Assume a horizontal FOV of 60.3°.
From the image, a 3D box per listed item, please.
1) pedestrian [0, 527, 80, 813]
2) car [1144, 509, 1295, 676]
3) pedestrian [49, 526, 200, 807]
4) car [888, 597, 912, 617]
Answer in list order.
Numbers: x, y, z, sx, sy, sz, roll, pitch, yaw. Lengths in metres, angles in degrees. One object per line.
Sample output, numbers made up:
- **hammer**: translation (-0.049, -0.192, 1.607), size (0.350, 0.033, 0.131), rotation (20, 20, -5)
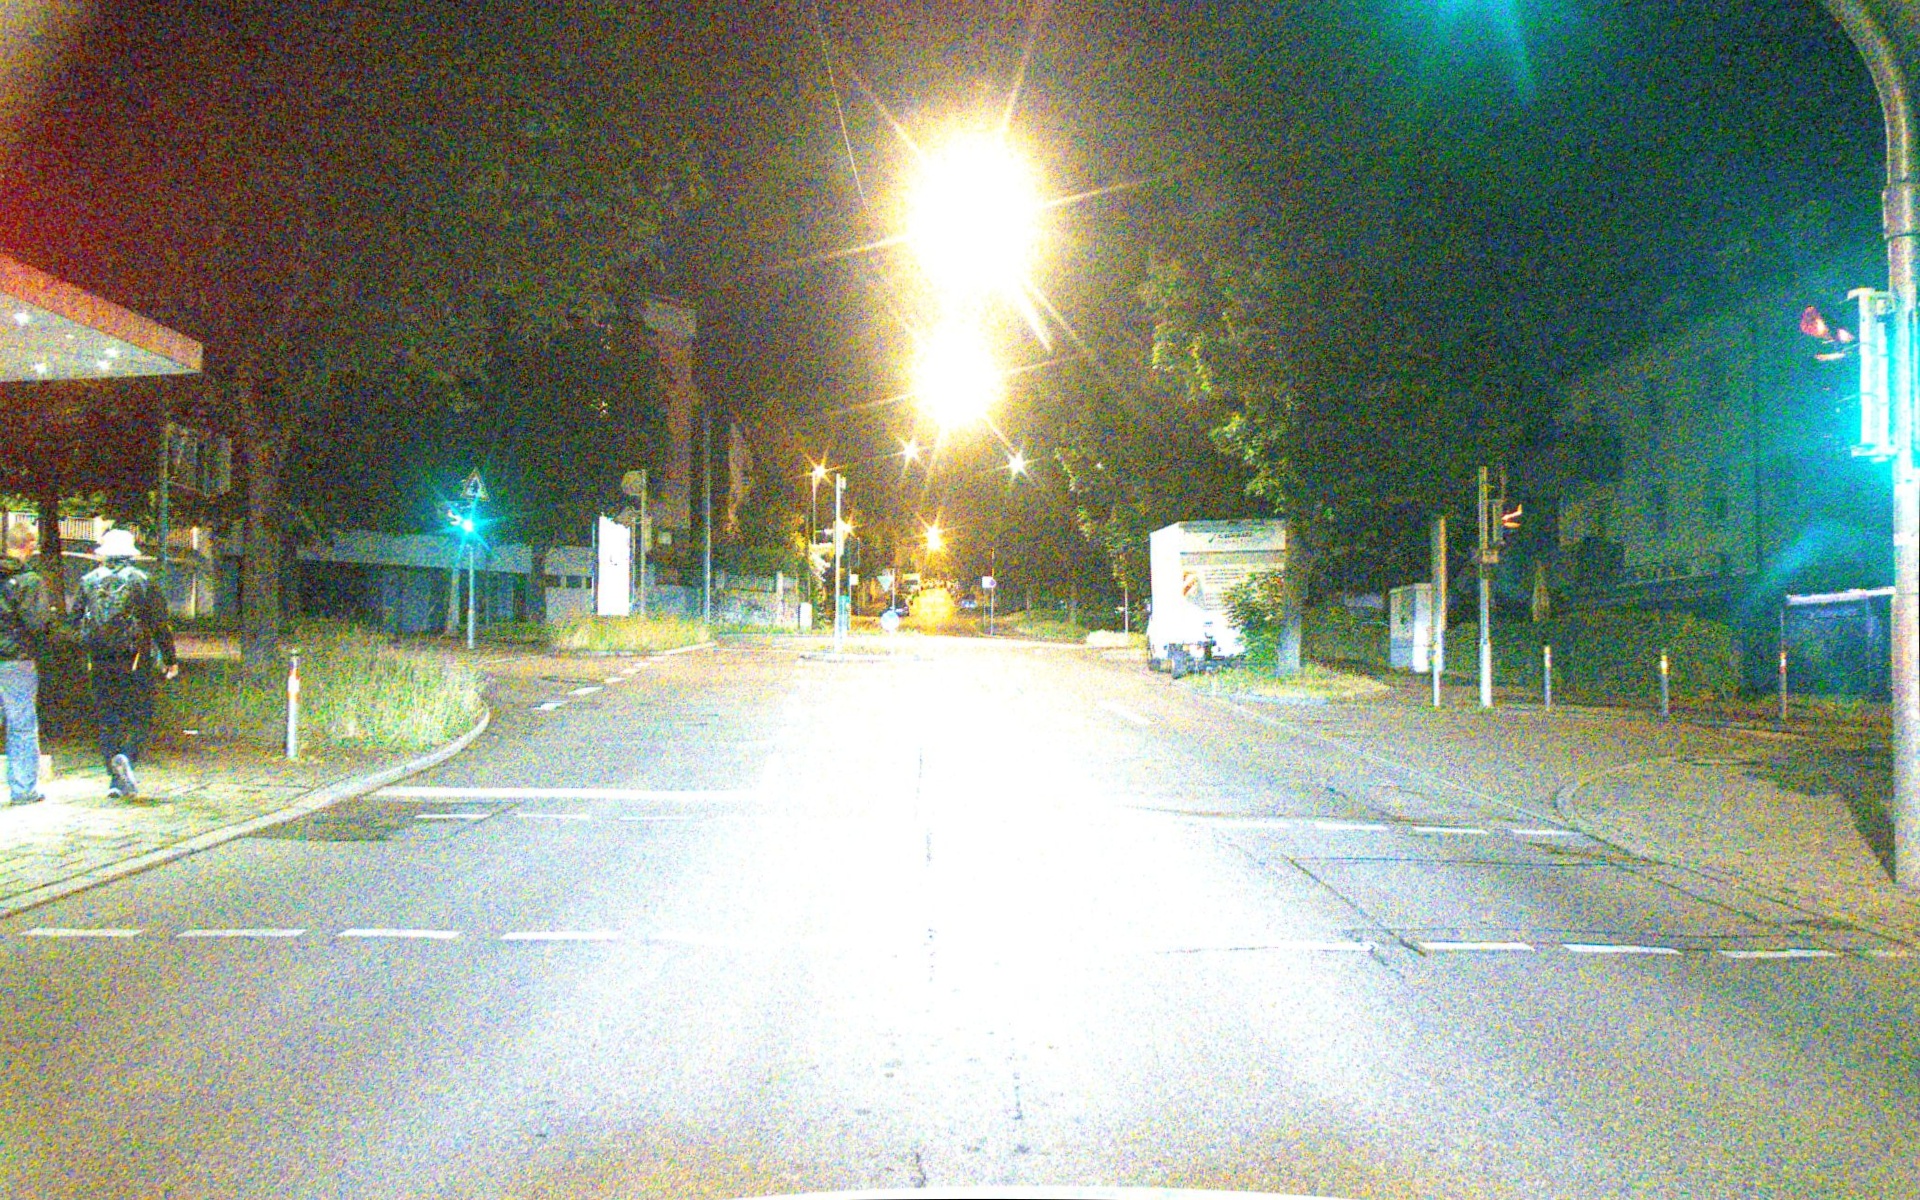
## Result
- **pedestrian**: translation (-6.012, 0.428, 10.466), size (0.558, 1.761, 0.543), rotation (1, -1, -1)
- **car**: translation (5.255, -0.138, 34.381), size (2.249, 3.147, 5.840), rotation (-1, 0, 1)
- **pedestrian**: translation (-5.615, 0.434, 11.152), size (0.558, 1.808, 0.737), rotation (3, -1, -1)
- **car**: translation (-4.842, 0.551, 134.333), size (1.869, 1.585, 3.903), rotation (1, 0, -1)
